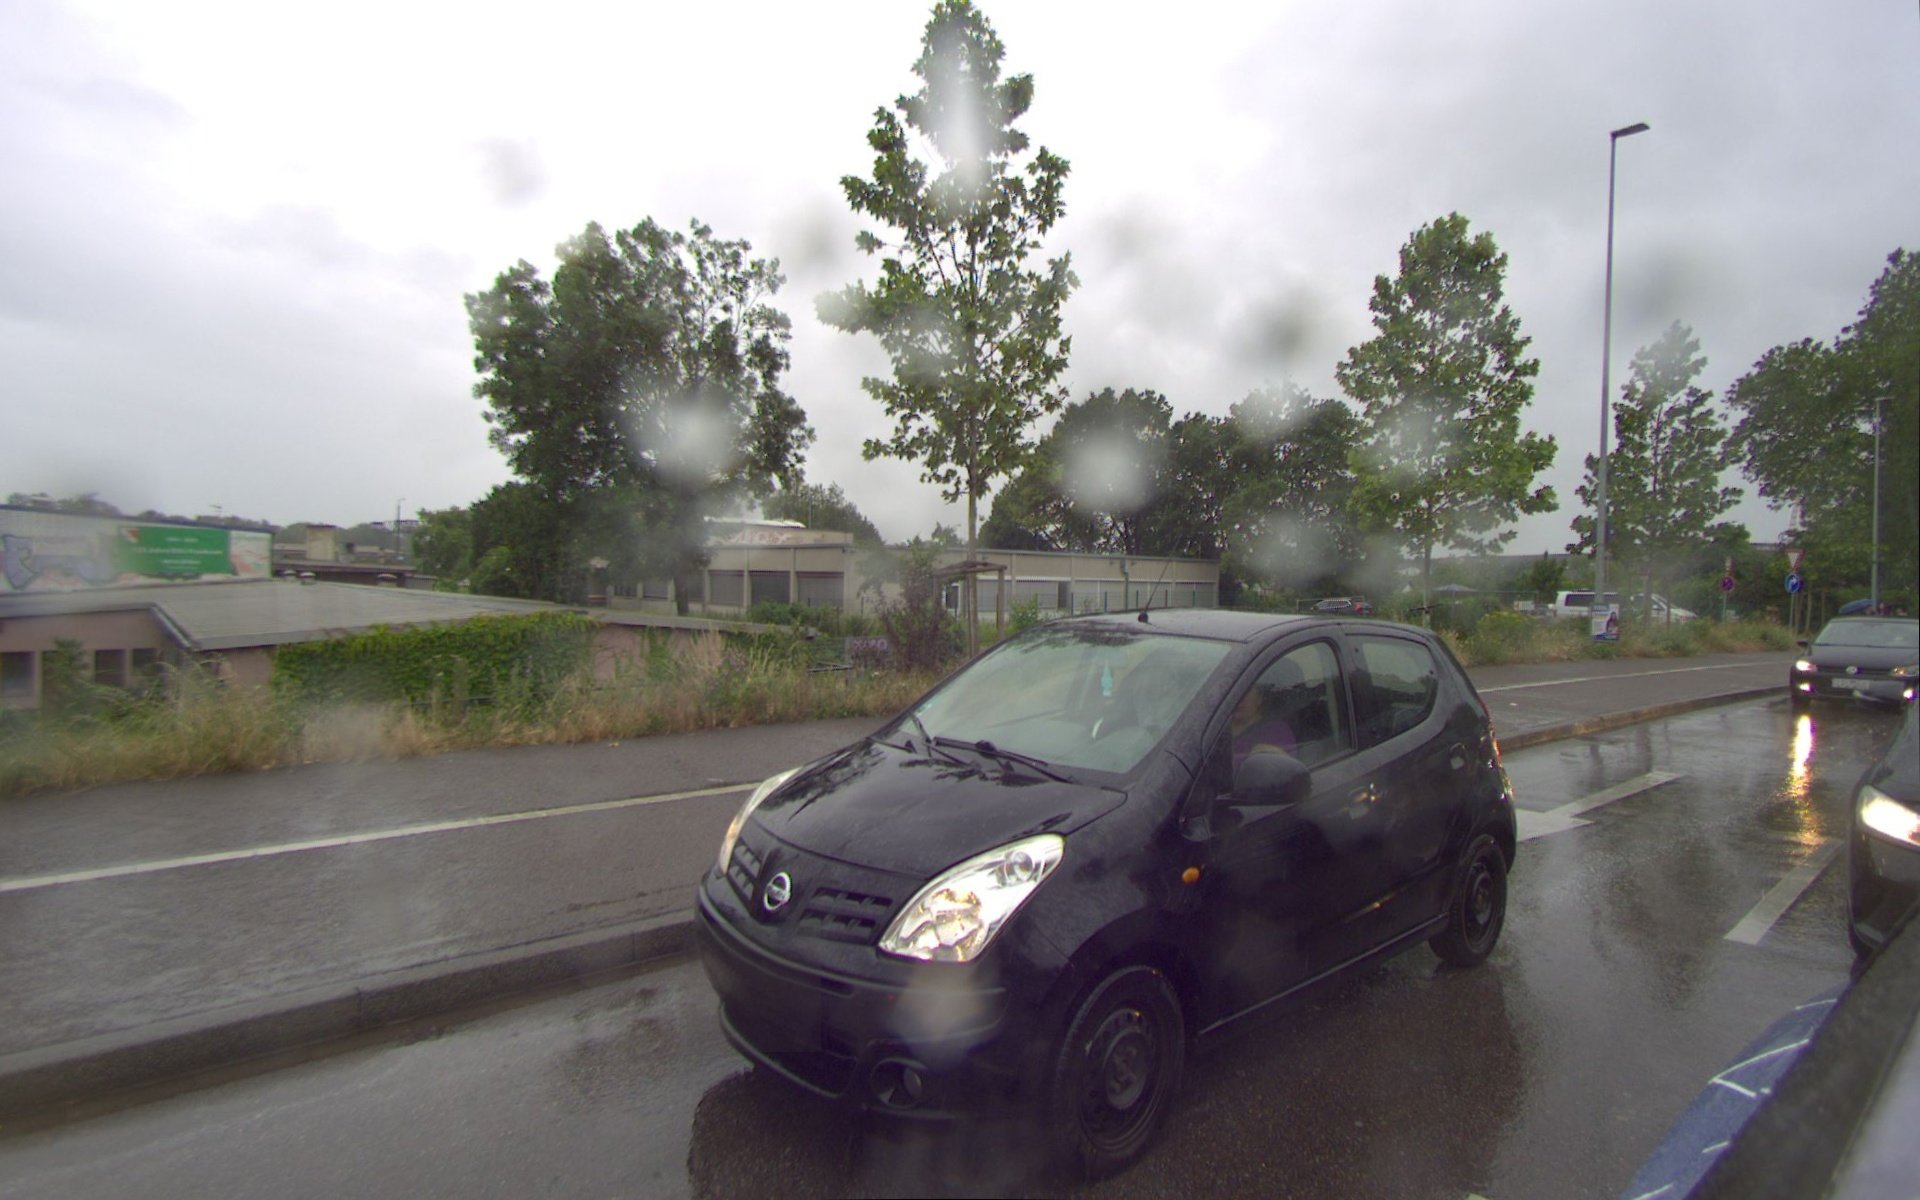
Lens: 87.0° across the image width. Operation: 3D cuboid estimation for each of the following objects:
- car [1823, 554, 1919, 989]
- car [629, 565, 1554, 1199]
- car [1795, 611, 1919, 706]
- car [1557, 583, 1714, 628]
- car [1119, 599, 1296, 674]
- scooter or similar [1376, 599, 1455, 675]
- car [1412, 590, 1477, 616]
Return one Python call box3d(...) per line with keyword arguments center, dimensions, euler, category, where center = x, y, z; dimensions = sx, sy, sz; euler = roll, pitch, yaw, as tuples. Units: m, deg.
box3d(center=(5.543, 0.657, 4.417), dimensions=(4.089, 1.601, 1.760), euler=(1, 0, -35), category="car")
box3d(center=(0.770, 0.690, 3.878), dimensions=(3.554, 1.528, 1.556), euler=(0, 0, -41), category="car")
box3d(center=(14.430, 0.844, 15.752), dimensions=(3.652, 1.326, 1.616), euler=(1, -1, -41), category="car")
box3d(center=(28.219, 0.215, 42.427), dimensions=(1.972, 1.747, 5.168), euler=(0, 0, -42), category="car")
box3d(center=(4.691, 0.650, 19.496), dimensions=(1.319, 1.304, 3.246), euler=(0, 0, -35), category="car")
box3d(center=(7.672, 0.592, 17.013), dimensions=(1.877, 1.214, 0.367), euler=(0, 0, -38), category="scooter or similar")
box3d(center=(30.933, 0.173, 64.691), dimensions=(1.319, 1.604, 3.555), euler=(0, 0, -35), category="car")
